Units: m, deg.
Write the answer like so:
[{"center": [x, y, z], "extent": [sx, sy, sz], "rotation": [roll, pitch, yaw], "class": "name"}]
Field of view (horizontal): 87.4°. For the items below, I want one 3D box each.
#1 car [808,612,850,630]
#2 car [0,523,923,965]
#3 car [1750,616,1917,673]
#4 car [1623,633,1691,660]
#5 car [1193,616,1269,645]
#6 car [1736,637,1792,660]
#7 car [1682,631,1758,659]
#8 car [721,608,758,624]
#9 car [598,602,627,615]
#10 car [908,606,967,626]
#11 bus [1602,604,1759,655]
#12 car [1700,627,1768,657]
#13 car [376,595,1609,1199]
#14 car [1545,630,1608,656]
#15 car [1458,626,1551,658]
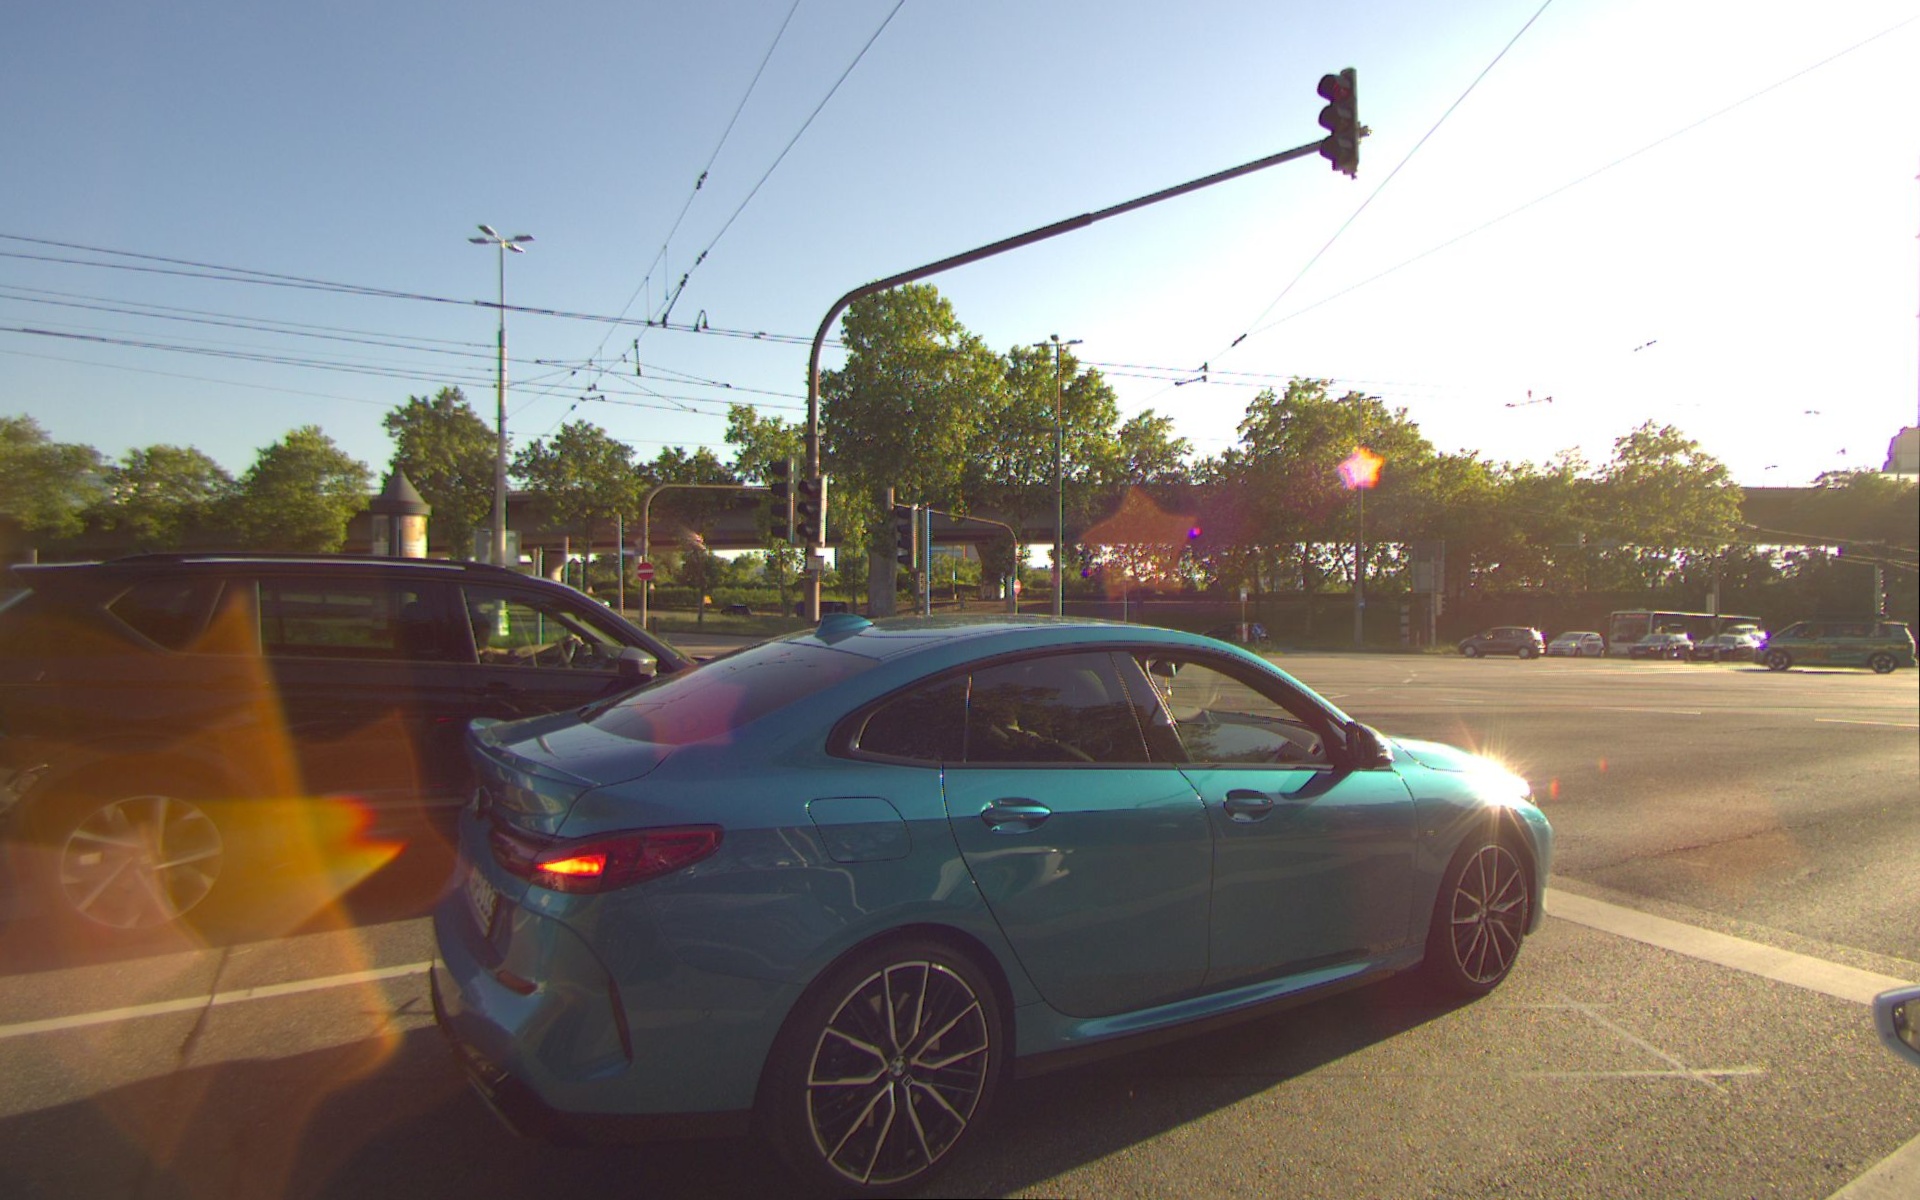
[{"center": [-12.435, 1.974, 95.036], "extent": [1.983, 1.644, 4.484], "rotation": [2, -1, -38], "class": "car"}, {"center": [-2.655, 0.601, 5.642], "extent": [4.550, 1.704, 1.905], "rotation": [2, -1, -32], "class": "car"}, {"center": [32.848, 1.628, 37.867], "extent": [4.640, 1.930, 1.988], "rotation": [0, -1, 44], "class": "car"}, {"center": [37.924, 2.517, 54.637], "extent": [3.956, 1.372, 1.595], "rotation": [2, -1, -32], "class": "car"}, {"center": [14.908, 1.666, 55.287], "extent": [3.680, 1.441, 1.688], "rotation": [1, -1, 42], "class": "car"}, {"center": [54.698, 3.303, 68.321], "extent": [3.952, 1.461, 1.692], "rotation": [2, -1, -30], "class": "car"}, {"center": [39.665, 2.345, 52.390], "extent": [4.046, 1.372, 1.703], "rotation": [2, -1, -30], "class": "car"}, {"center": [-22.226, 1.588, 101.139], "extent": [1.982, 1.473, 4.485], "rotation": [2, -1, -38], "class": "car"}, {"center": [-40.660, 0.978, 117.456], "extent": [1.981, 1.473, 4.487], "rotation": [2, -1, -37], "class": "car"}, {"center": [-1.757, 1.224, 76.397], "extent": [1.986, 1.473, 4.476], "rotation": [2, -1, -43], "class": "car"}, {"center": [45.466, 1.897, 63.180], "extent": [12.693, 2.993, 2.811], "rotation": [2, -1, -28], "class": "bus"}, {"center": [44.946, 2.429, 58.340], "extent": [4.046, 1.674, 1.703], "rotation": [2, -1, -30], "class": "car"}, {"center": [0.419, 0.763, 3.803], "extent": [4.465, 1.436, 1.774], "rotation": [2, -1, -33], "class": "car"}, {"center": [35.180, 2.438, 57.318], "extent": [3.693, 1.372, 1.595], "rotation": [2, -1, -32], "class": "car"}, {"center": [26.527, 2.024, 48.983], "extent": [1.686, 1.441, 3.684], "rotation": [2, -1, -45], "class": "car"}]
